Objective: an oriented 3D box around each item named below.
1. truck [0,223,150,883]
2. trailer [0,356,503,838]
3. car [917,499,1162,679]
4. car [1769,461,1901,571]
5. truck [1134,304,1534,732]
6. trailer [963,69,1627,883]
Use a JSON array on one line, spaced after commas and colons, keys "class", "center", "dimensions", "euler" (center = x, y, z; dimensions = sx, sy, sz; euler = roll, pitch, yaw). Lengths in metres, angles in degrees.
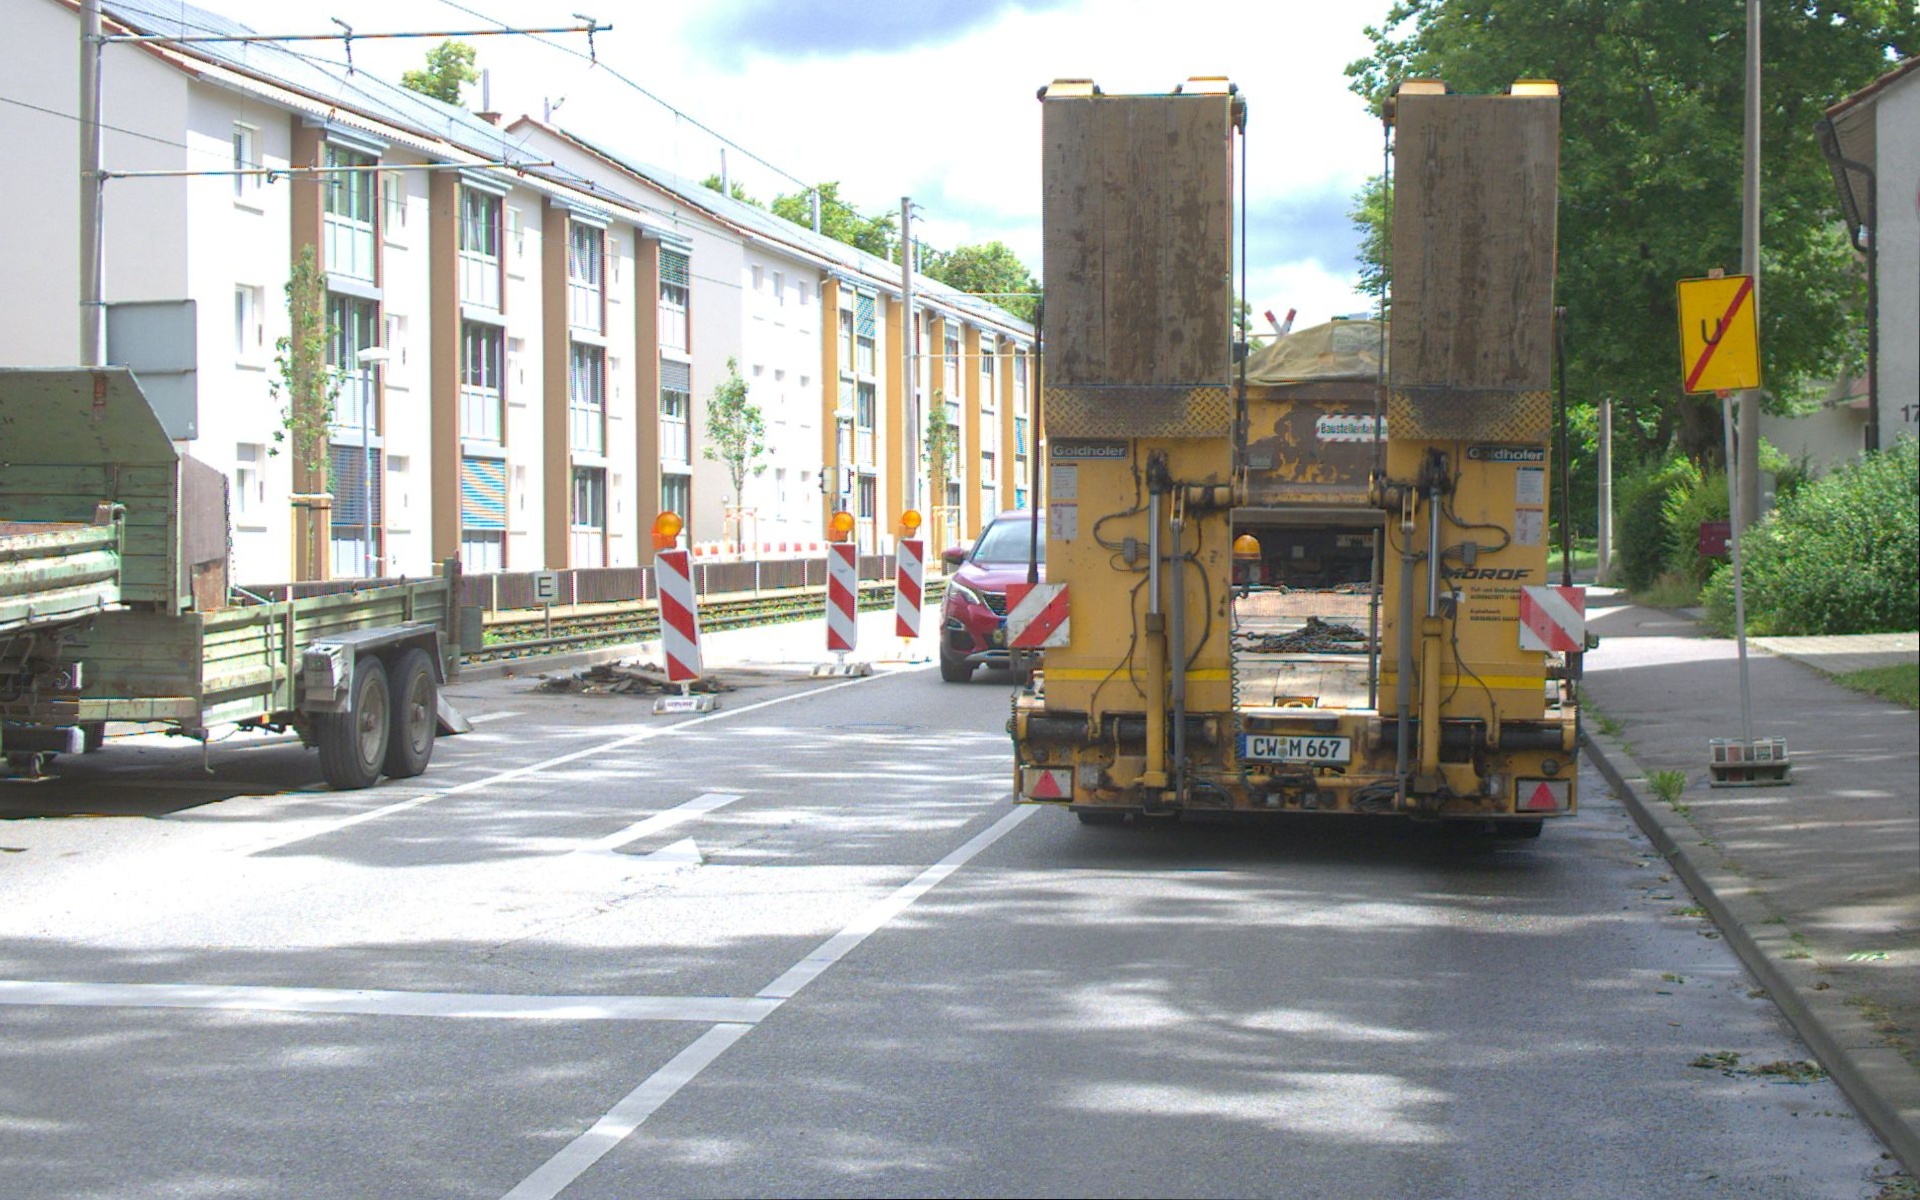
[{"class": "truck", "center": [-5.466, -0.183, 12.790], "dimensions": [2.663, 2.716, 6.394], "euler": [1, 1, 7]}, {"class": "trailer", "center": [-4.657, -0.099, 19.039], "dimensions": [2.663, 2.206, 6.246], "euler": [1, 1, 7]}, {"class": "car", "center": [0.835, -0.128, 33.147], "dimensions": [1.843, 1.612, 4.241], "euler": [-1, 1, 8]}, {"class": "car", "center": [13.806, -1.299, 54.111], "dimensions": [1.813, 1.644, 3.997], "euler": [-1, 1, 17]}, {"class": "truck", "center": [3.358, -0.714, 29.762], "dimensions": [2.918, 3.156, 7.678], "euler": [2, 1, 8]}, {"class": "trailer", "center": [2.092, -0.694, 20.500], "dimensions": [2.823, 3.512, 11.049], "euler": [1, 2, 7]}]
